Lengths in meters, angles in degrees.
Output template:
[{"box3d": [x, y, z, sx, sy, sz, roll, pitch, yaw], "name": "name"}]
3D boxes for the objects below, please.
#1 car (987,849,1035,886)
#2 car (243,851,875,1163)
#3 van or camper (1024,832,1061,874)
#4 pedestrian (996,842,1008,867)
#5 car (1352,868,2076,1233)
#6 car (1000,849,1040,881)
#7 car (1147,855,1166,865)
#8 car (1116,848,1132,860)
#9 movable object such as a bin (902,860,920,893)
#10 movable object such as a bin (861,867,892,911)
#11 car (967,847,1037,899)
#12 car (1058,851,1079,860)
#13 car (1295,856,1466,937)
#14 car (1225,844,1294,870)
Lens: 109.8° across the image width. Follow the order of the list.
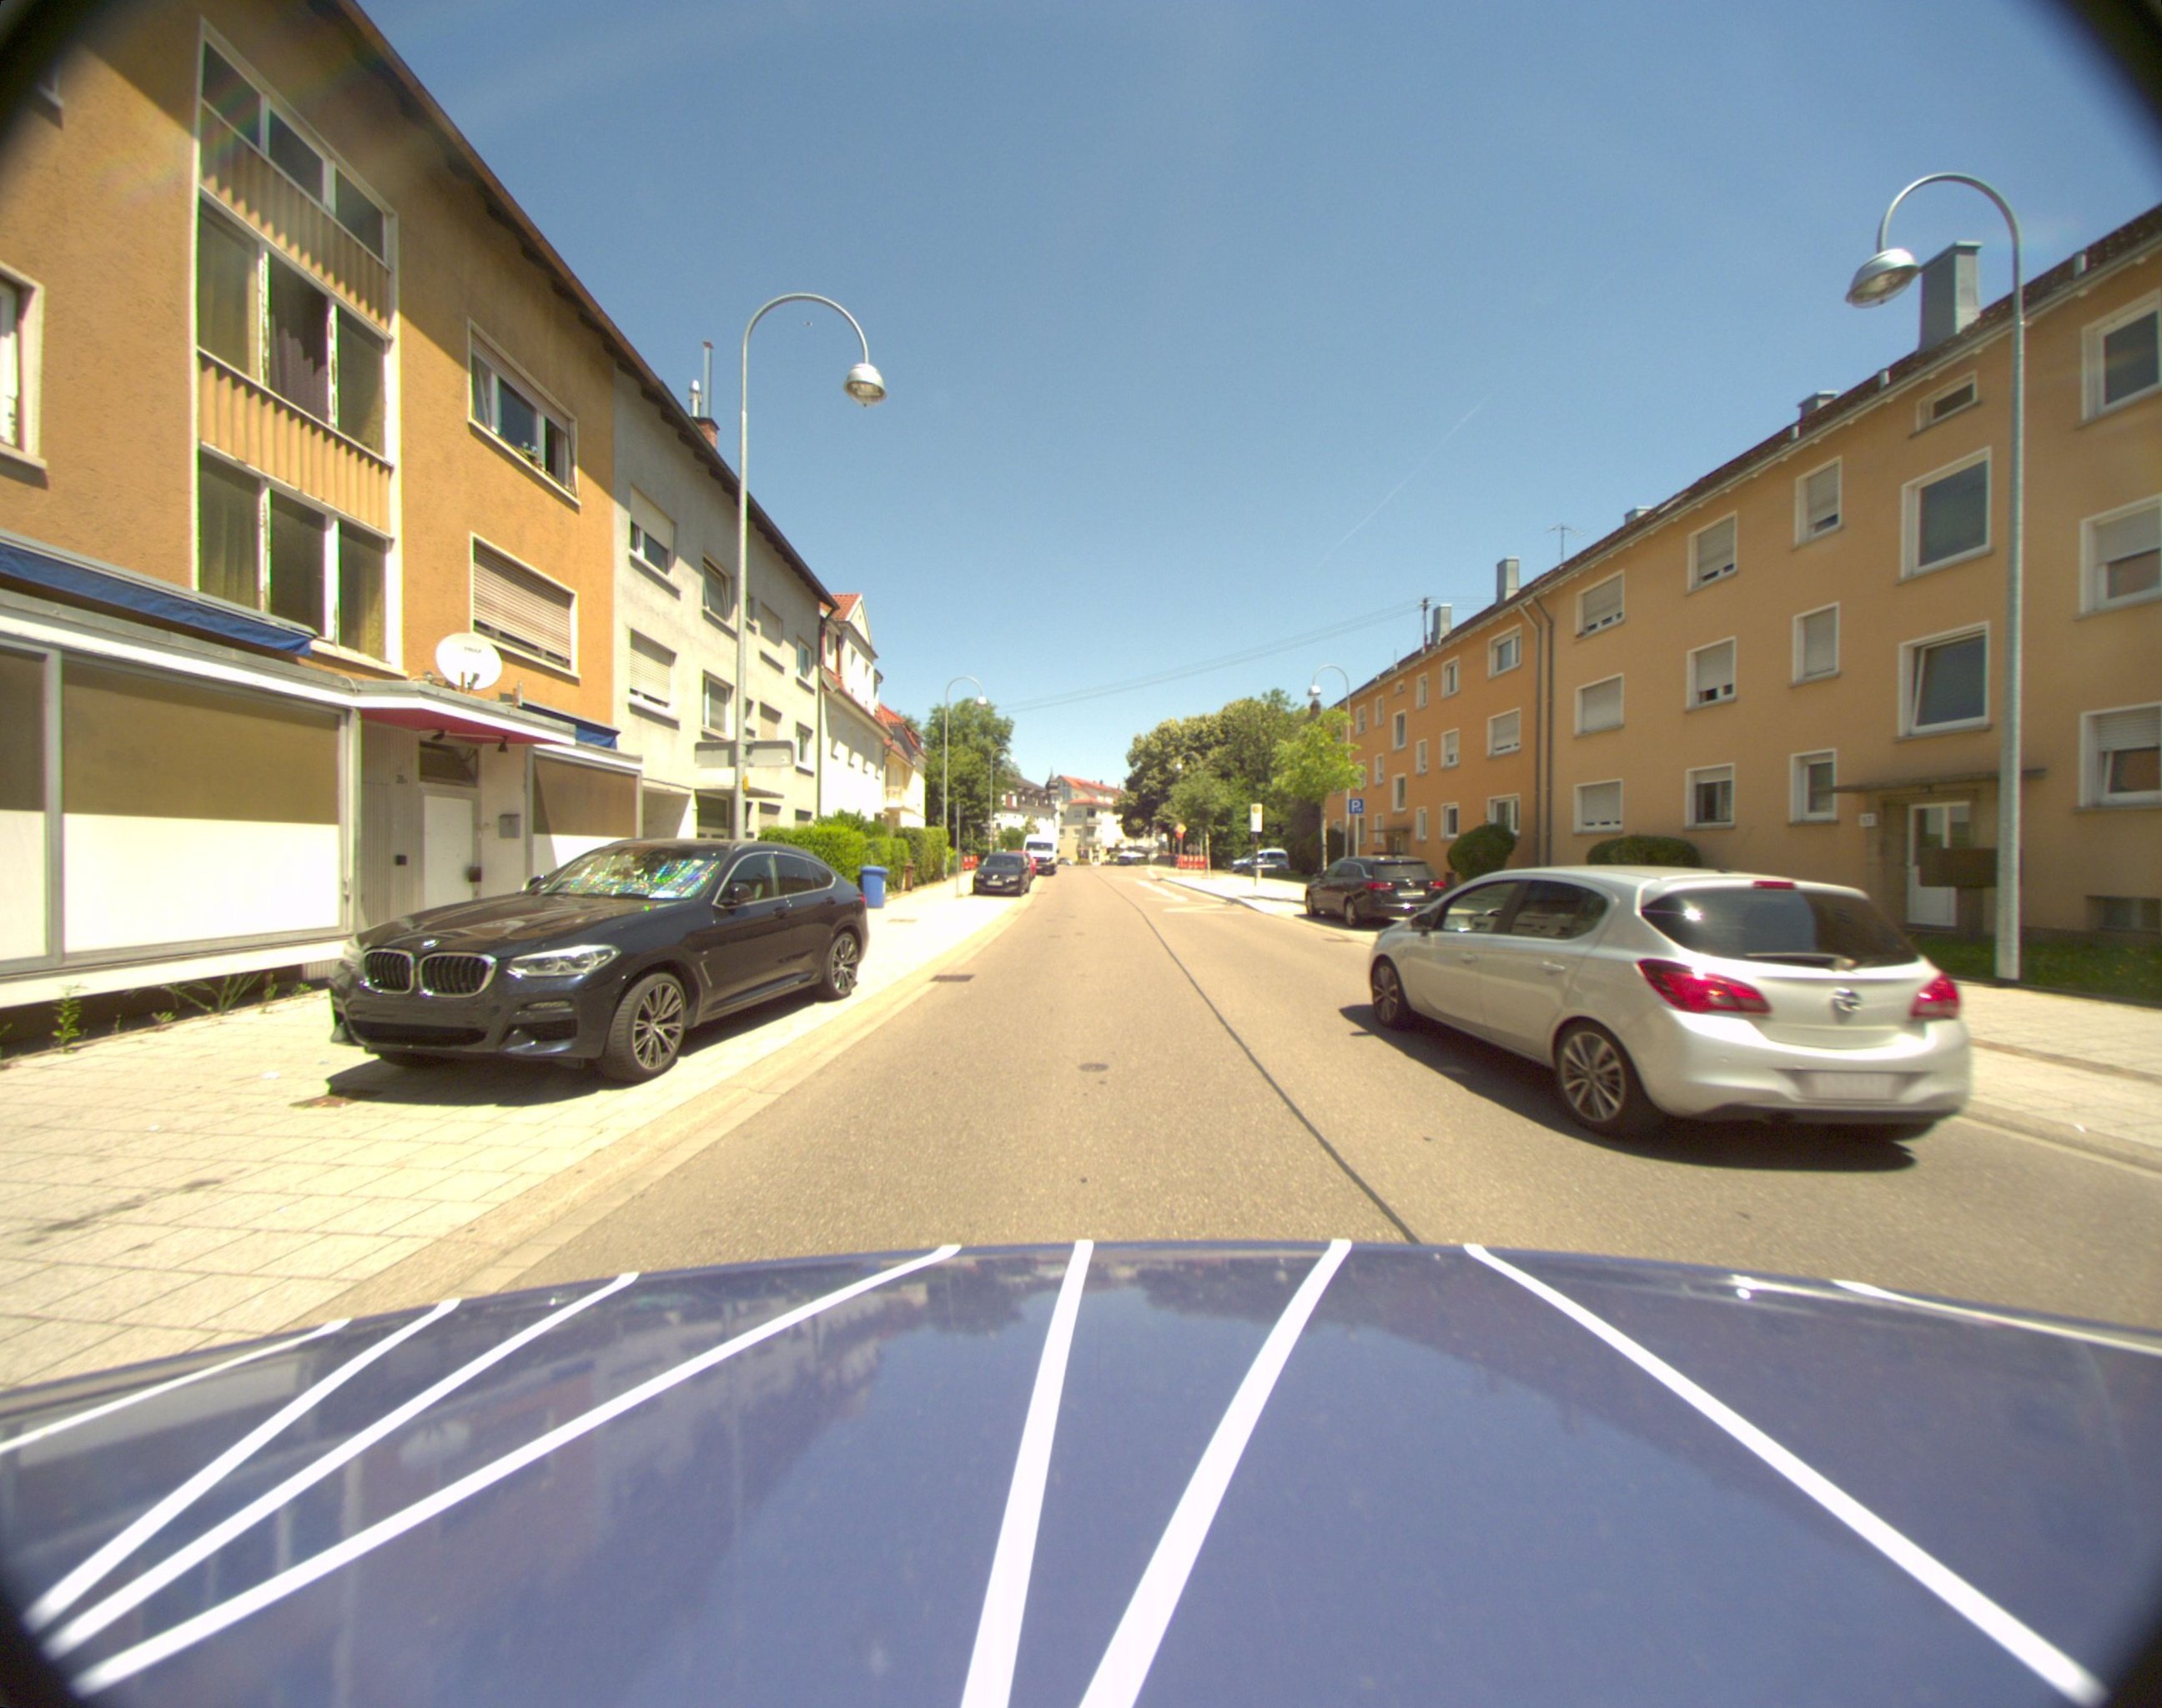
[{"box3d": [-3.149, 0.564, 34.955, 1.808, 1.466, 4.719, 3, 0, -1], "name": "car"}, {"box3d": [-3.556, 0.820, 6.391, 1.898, 1.598, 4.367, 2, 1, 8], "name": "car"}, {"box3d": [-2.506, -0.098, 47.903, 2.114, 2.453, 6.173, -1, 1, -5], "name": "van or camper"}, {"box3d": [-5.565, 0.010, 53.341, 0.522, 1.696, 0.802, 4, 0, -21], "name": "pedestrian"}, {"box3d": [3.490, 0.898, 5.230, 1.664, 1.488, 3.757, 1, 1, -4], "name": "car"}, {"box3d": [-3.136, 0.530, 39.760, 1.808, 1.521, 4.149, 1, 1, -1], "name": "car"}, {"box3d": [13.332, 1.129, 134.638, 2.002, 1.705, 3.994, 2, -1, -18], "name": "car"}, {"box3d": [5.604, -0.041, 99.707, 1.998, 1.498, 4.288, 1, 0, 1], "name": "car"}, {"box3d": [-5.781, 0.764, 25.864, 0.488, 1.097, 0.555, 0, 1, 0], "name": "movable object such as a bin"}, {"box3d": [-5.187, 0.889, 19.273, 0.595, 1.070, 0.647, 1, 1, -1], "name": "movable object such as a bin"}, {"box3d": [-2.706, 0.609, 26.873, 1.732, 1.623, 4.001, 3, 0, 3], "name": "car"}, {"box3d": [-2.110, 0.264, 124.399, 3.038, 1.444, 1.570, -2, 0, 22], "name": "car"}, {"box3d": [6.422, 0.830, 16.933, 1.862, 1.498, 4.561, -2, 0, -2], "name": "car"}, {"box3d": [12.856, 0.182, 54.842, 4.439, 1.863, 1.817, 0, 1, -11], "name": "car"}]
